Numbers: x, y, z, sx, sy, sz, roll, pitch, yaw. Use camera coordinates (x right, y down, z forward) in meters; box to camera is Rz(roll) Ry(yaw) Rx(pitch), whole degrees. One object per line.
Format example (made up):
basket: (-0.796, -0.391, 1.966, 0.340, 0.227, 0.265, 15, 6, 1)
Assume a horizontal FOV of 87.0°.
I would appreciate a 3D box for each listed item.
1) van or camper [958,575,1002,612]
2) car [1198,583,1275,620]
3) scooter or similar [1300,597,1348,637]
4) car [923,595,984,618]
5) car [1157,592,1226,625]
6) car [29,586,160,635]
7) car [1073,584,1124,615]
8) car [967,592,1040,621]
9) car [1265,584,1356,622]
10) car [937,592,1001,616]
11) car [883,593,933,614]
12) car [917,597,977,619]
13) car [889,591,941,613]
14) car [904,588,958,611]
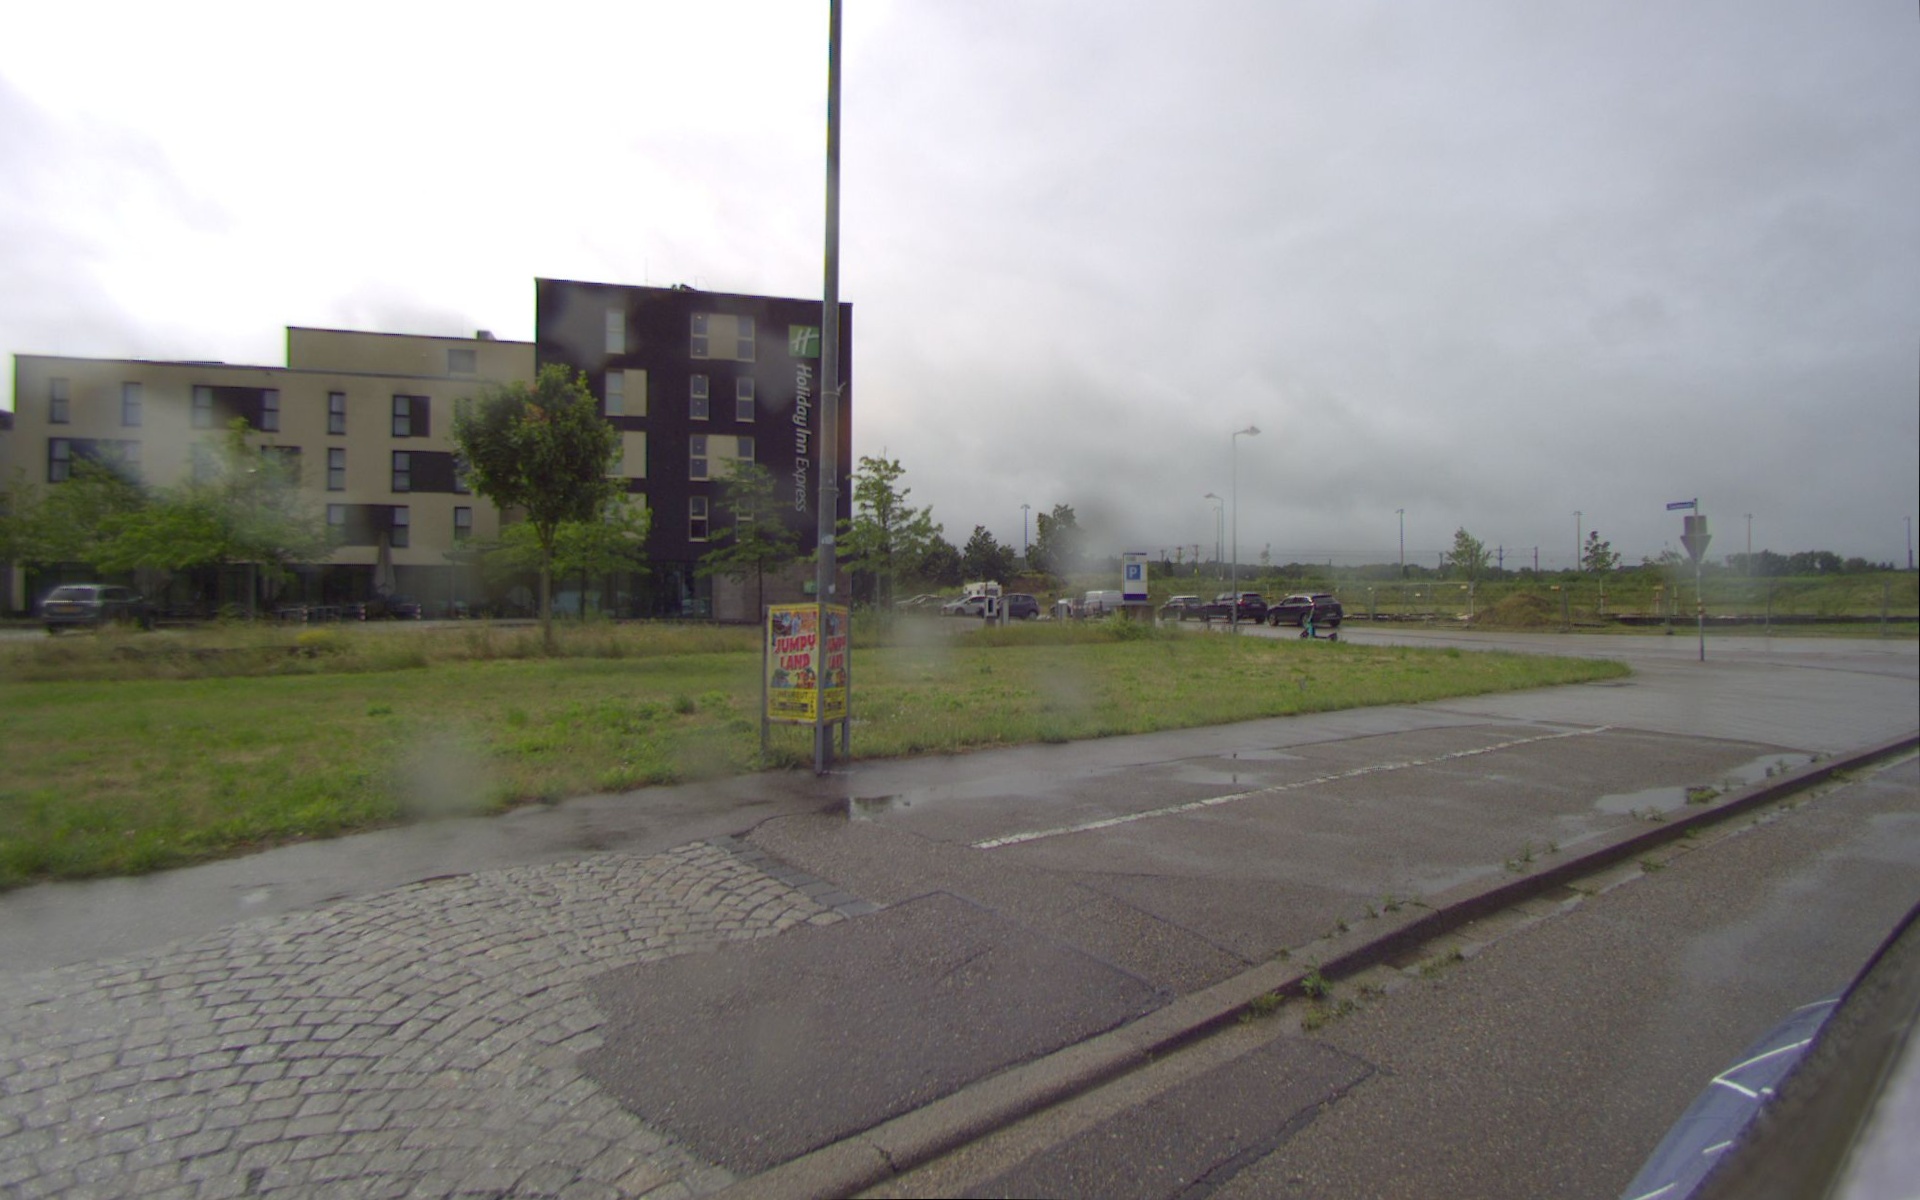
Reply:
van or camper: (1.930, -0.585, 100.147, 2.476, 3.244, 6.810, 0, -3, -15)
car: (14.526, 0.117, 53.434, 1.958, 1.751, 4.006, 0, -3, -19)
scooter or similar: (11.387, 0.524, 31.657, 0.495, 1.202, 1.281, 3, -1, -45)
car: (-0.467, 0.439, 67.245, 3.702, 1.414, 1.646, -1, -2, -16)
car: (13.111, 0.503, 57.499, 1.958, 1.663, 4.006, 0, -3, -19)
car: (-29.814, 0.311, 35.034, 1.632, 1.577, 4.227, 0, 1, -12)
car: (9.581, 0.001, 70.422, 1.958, 1.796, 4.342, 0, -5, -15)
car: (2.469, 0.397, 57.968, 3.761, 1.548, 1.788, 0, -3, -17)
car: (16.477, 0.126, 47.803, 1.958, 1.638, 4.008, -3, 1, -19)
car: (0.583, 0.281, 65.184, 3.727, 1.414, 1.771, 0, -3, -17)
car: (-4.205, 0.280, 81.702, 3.761, 1.637, 1.788, 0, -3, -17)
car: (-0.897, 0.570, 69.777, 3.761, 1.414, 1.788, 0, -3, -17)
car: (-3.529, 0.149, 79.401, 3.761, 1.637, 1.788, 0, -3, -17)
car: (-2.189, -0.031, 76.314, 3.761, 1.637, 1.788, 0, -3, -17)
